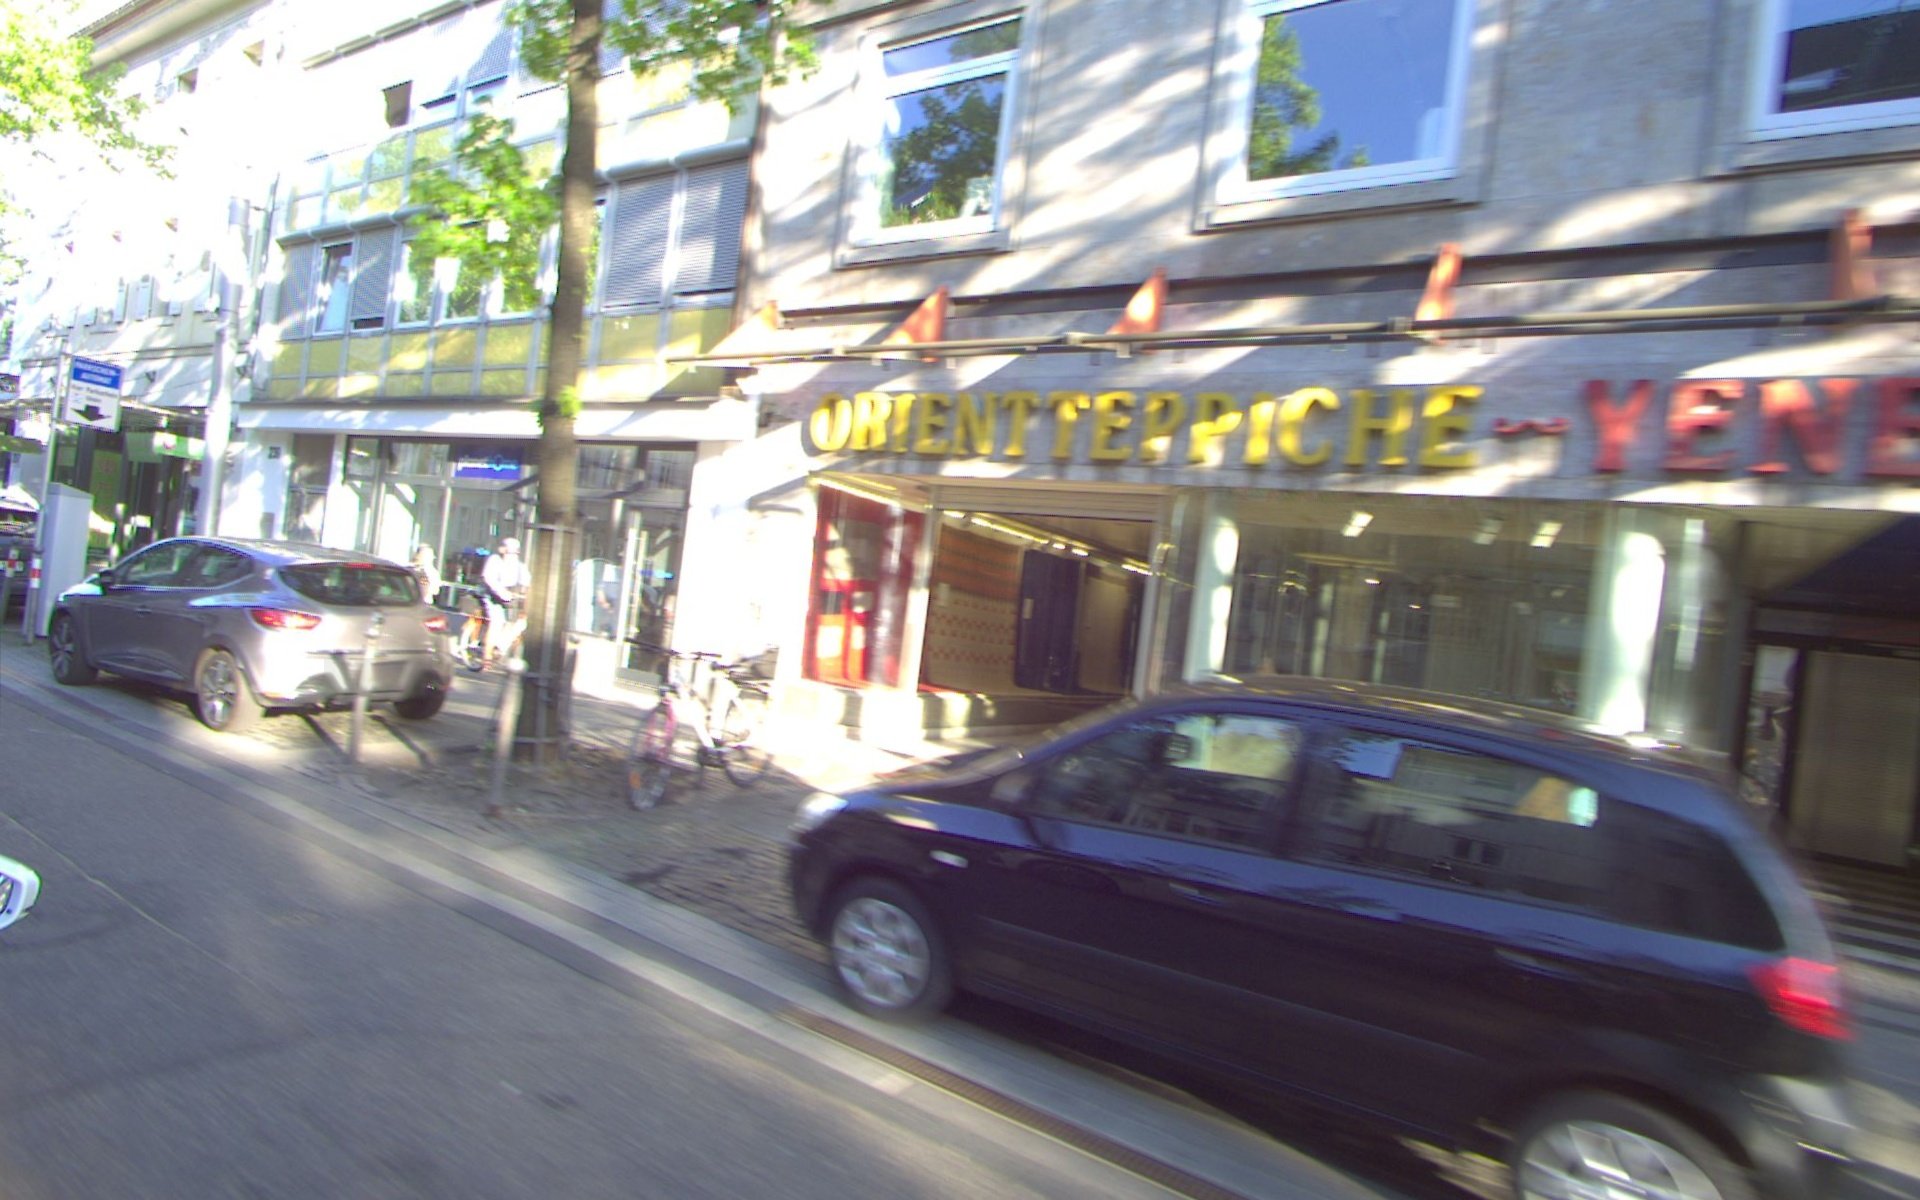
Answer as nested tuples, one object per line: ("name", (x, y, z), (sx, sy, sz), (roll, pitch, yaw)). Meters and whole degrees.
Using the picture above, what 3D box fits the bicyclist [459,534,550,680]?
("bicyclist", (-5.613, 0.098, 12.417), (0.590, 1.705, 0.639), (7, 1, 31))

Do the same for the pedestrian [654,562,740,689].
("pedestrian", (-3.757, 0.371, 14.377), (0.814, 1.705, 0.639), (7, 1, 31))

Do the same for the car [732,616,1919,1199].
("car", (1.113, 1.022, 4.023), (3.593, 1.476, 1.802), (6, 0, 30))

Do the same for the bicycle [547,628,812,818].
("bicycle", (-1.898, 0.812, 7.138), (0.699, 1.087, 1.861), (7, 0, 23))

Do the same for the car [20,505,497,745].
("car", (-6.236, 0.113, 8.889), (3.930, 1.506, 1.816), (7, 2, 28))

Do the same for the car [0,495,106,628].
("car", (-12.716, -0.631, 12.745), (4.041, 1.472, 1.871), (7, 1, 35))

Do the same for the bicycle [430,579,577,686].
("bicycle", (-5.663, 0.392, 12.439), (1.830, 1.087, 0.648), (7, 0, 31))

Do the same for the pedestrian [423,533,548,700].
("pedestrian", (-5.079, 0.188, 10.792), (0.688, 1.666, 0.798), (7, 0, 31))
